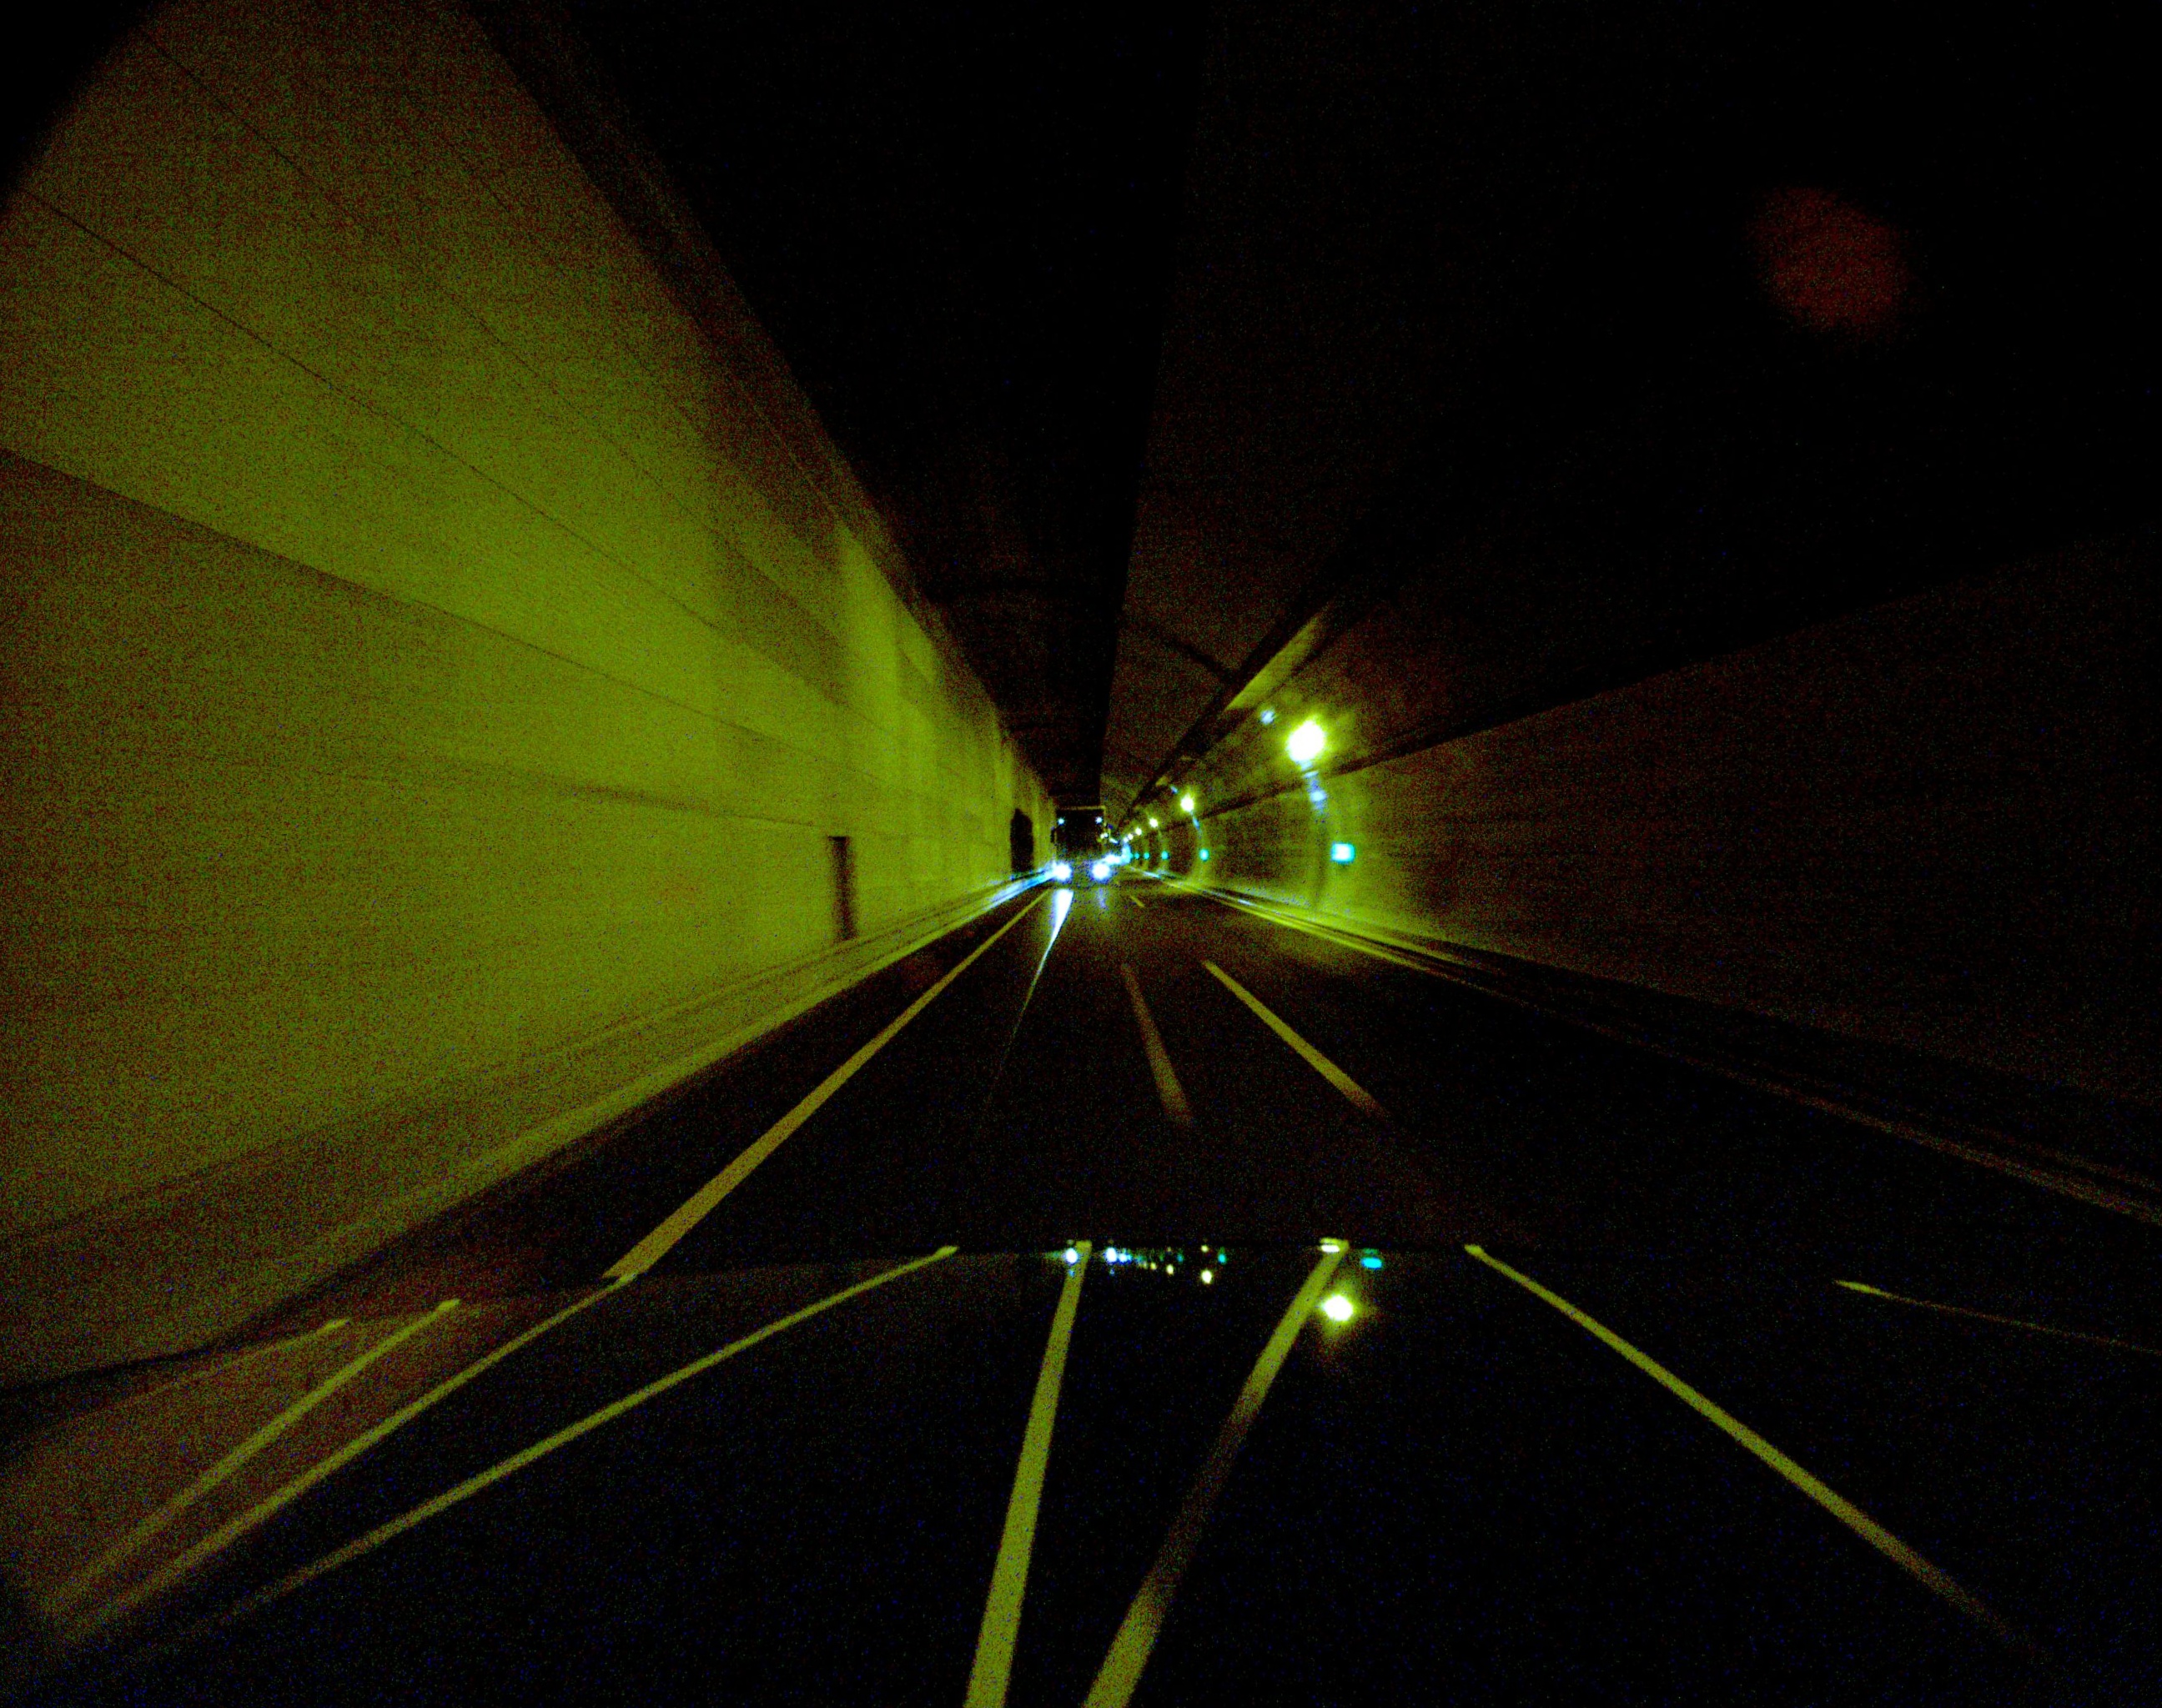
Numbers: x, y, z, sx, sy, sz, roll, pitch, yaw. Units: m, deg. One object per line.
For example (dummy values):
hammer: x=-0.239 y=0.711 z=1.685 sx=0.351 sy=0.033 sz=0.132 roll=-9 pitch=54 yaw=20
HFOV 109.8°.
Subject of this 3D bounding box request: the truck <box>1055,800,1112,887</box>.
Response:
truck: x=0.129 y=-0.539 z=40.998 sx=2.769 sy=4.198 sz=7.976 roll=-1 pitch=1 yaw=0
